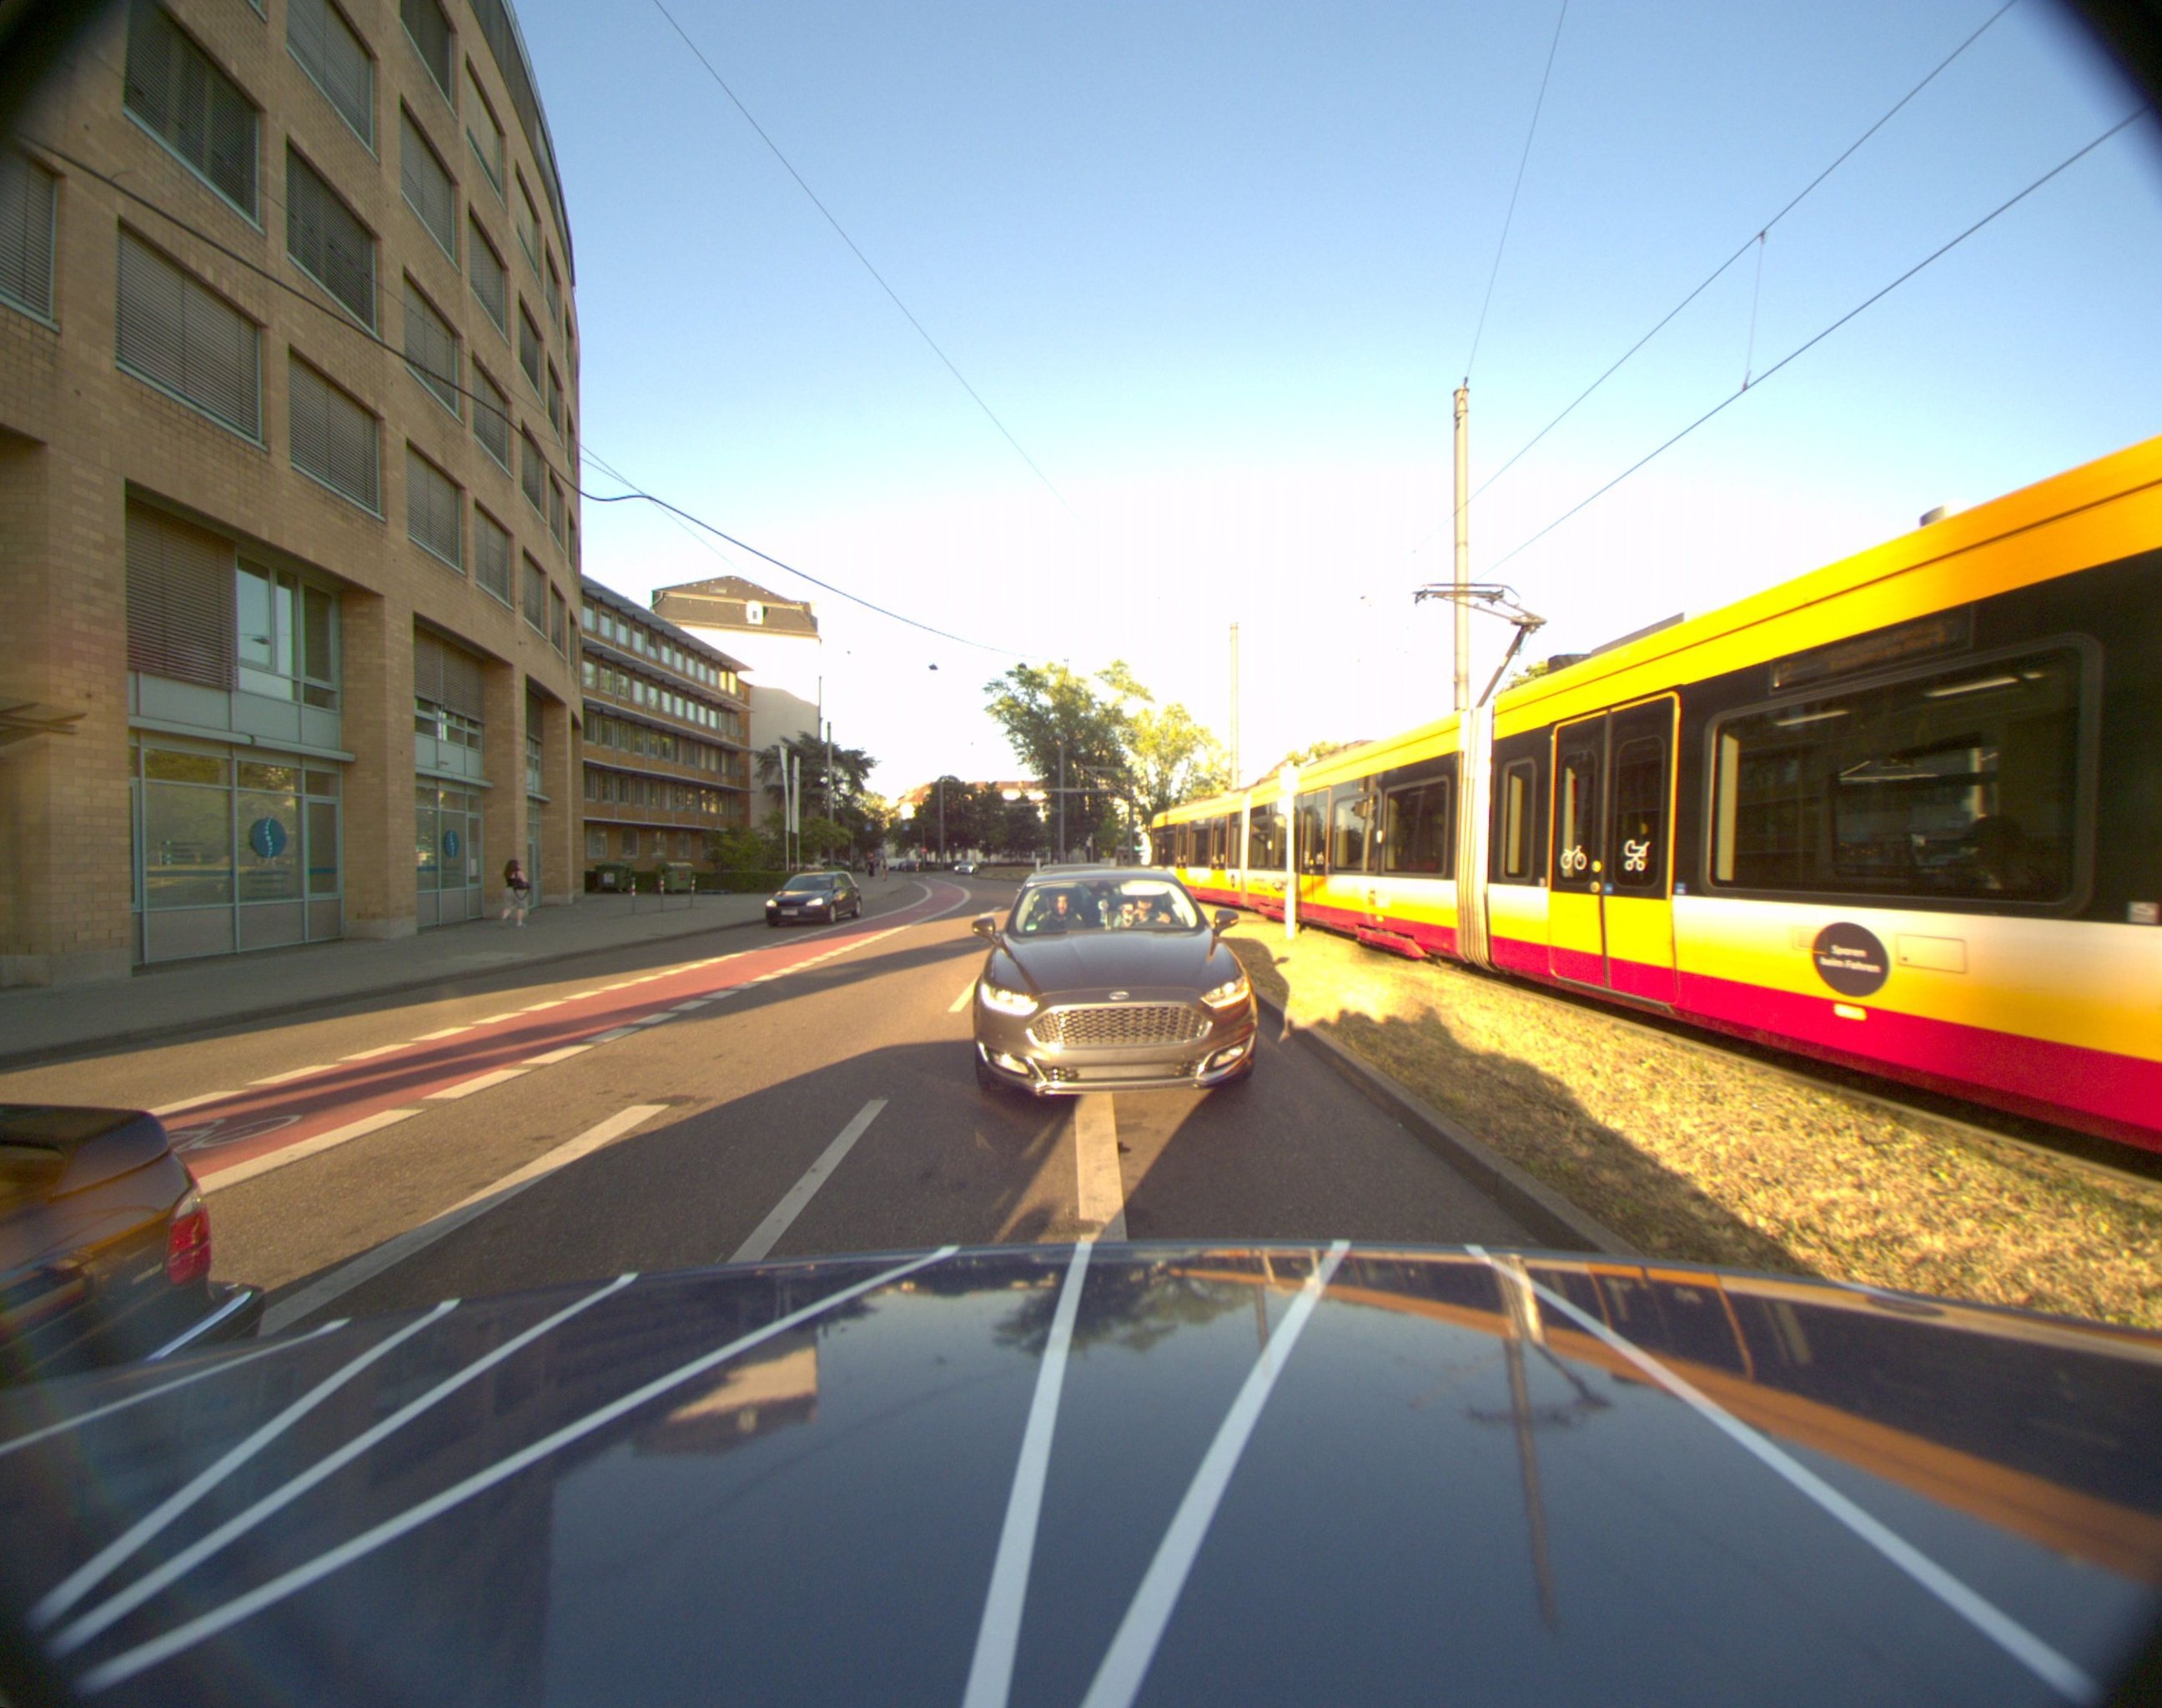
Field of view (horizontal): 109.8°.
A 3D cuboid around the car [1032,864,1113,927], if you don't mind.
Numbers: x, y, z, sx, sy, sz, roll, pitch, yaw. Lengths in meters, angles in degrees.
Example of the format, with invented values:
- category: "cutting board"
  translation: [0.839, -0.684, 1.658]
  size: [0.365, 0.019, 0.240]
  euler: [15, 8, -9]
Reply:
- category: "car"
  translation: [-0.272, 1.065, 20.934]
  size: [1.999, 1.453, 4.142]
  euler: [-1, 0, -2]

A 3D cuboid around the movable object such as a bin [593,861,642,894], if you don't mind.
- category: "movable object such as a bin"
  translation: [-21.177, 1.037, 34.734]
  size: [1.427, 1.450, 1.332]
  euler: [-1, 0, -2]

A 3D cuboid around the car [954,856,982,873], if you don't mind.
- category: "car"
  translation: [-11.868, 1.074, 80.316]
  size: [1.997, 1.739, 4.002]
  euler: [-1, 0, 6]

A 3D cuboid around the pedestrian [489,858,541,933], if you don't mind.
- category: "pedestrian"
  translation: [-12.857, 0.924, 17.277]
  size: [0.628, 1.672, 0.713]
  euler: [-1, 1, -3]

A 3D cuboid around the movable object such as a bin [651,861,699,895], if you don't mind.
- category: "movable object such as a bin"
  translation: [-18.263, 1.065, 34.225]
  size: [1.427, 1.450, 1.332]
  euler: [-1, 0, -3]

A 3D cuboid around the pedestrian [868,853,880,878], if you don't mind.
- category: "pedestrian"
  translation: [-15.533, 0.860, 57.036]
  size: [0.728, 1.797, 0.724]
  euler: [-1, 1, 1]

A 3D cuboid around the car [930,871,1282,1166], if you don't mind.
- category: "car"
  translation: [0.176, 0.947, 6.469]
  size: [1.890, 1.477, 4.725]
  euler: [0, 0, 1]

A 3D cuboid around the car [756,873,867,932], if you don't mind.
- category: "car"
  translation: [-7.592, 1.310, 21.854]
  size: [1.759, 1.379, 3.999]
  euler: [-2, 0, -1]

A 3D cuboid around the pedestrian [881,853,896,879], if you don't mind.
- category: "pedestrian"
  translation: [-14.073, 0.855, 55.552]
  size: [0.912, 1.883, 1.124]
  euler: [-1, 1, -24]

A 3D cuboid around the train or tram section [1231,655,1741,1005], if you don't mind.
- category: "train or tram section"
  translation: [5.562, -0.274, 14.237]
  size: [2.885, 3.717, 12.181]
  euler: [-1, 0, -1]

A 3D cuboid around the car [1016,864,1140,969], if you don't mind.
- category: "car"
  translation: [0.000, 0.986, 14.034]
  size: [1.897, 1.526, 4.705]
  euler: [-1, 0, 1]

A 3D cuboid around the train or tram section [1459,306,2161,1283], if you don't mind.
- category: "train or tram section"
  translation: [5.555, -0.231, 1.774]
  size: [2.916, 3.717, 13.218]
  euler: [-1, 0, 1]

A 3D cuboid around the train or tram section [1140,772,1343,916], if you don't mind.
- category: "train or tram section"
  translation: [4.706, -0.280, 25.943]
  size: [2.914, 3.717, 12.183]
  euler: [-1, 0, -7]
